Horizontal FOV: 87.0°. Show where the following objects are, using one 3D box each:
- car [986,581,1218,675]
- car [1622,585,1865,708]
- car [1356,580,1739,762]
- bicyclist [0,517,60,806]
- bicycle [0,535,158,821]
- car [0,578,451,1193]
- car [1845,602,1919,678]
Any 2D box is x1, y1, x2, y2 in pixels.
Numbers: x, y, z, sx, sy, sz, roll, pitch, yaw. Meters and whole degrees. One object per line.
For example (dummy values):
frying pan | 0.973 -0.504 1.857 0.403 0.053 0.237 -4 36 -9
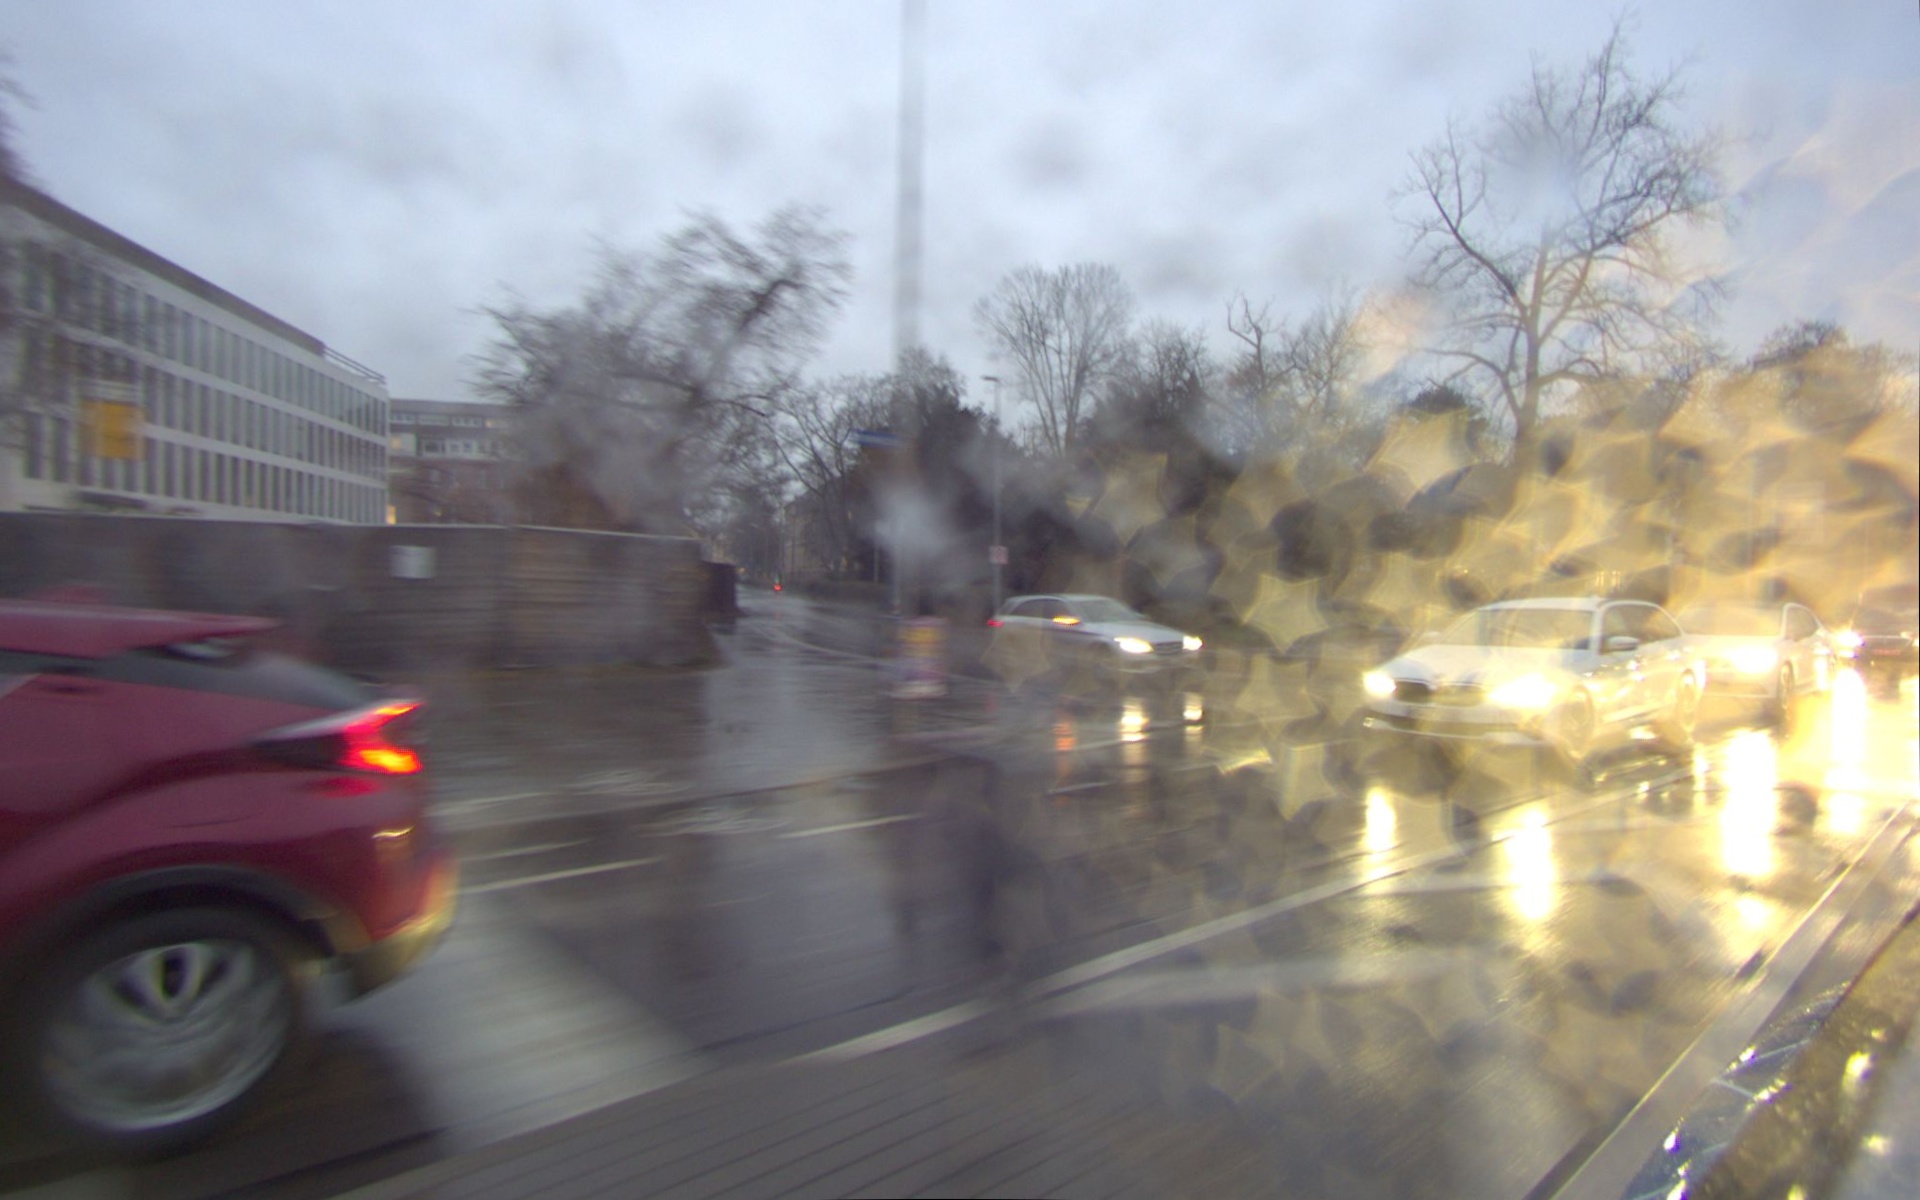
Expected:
car | 2.472 0.411 18.823 1.844 1.507 4.522 0 1 -31
car | 11.266 0.549 14.481 3.966 1.479 1.779 -1 2 -37
car | 6.349 0.569 10.686 4.876 1.520 1.792 -1 1 -38
bicyclist | -5.998 0.361 5.950 0.685 1.700 0.817 0 1 3
bicycle | -5.986 0.463 5.948 0.677 1.678 2.245 -1 0 3
car | -3.641 0.728 2.588 3.927 1.498 1.727 -1 0 -37
car | 21.833 0.856 23.163 4.007 1.517 1.879 -1 2 -42
